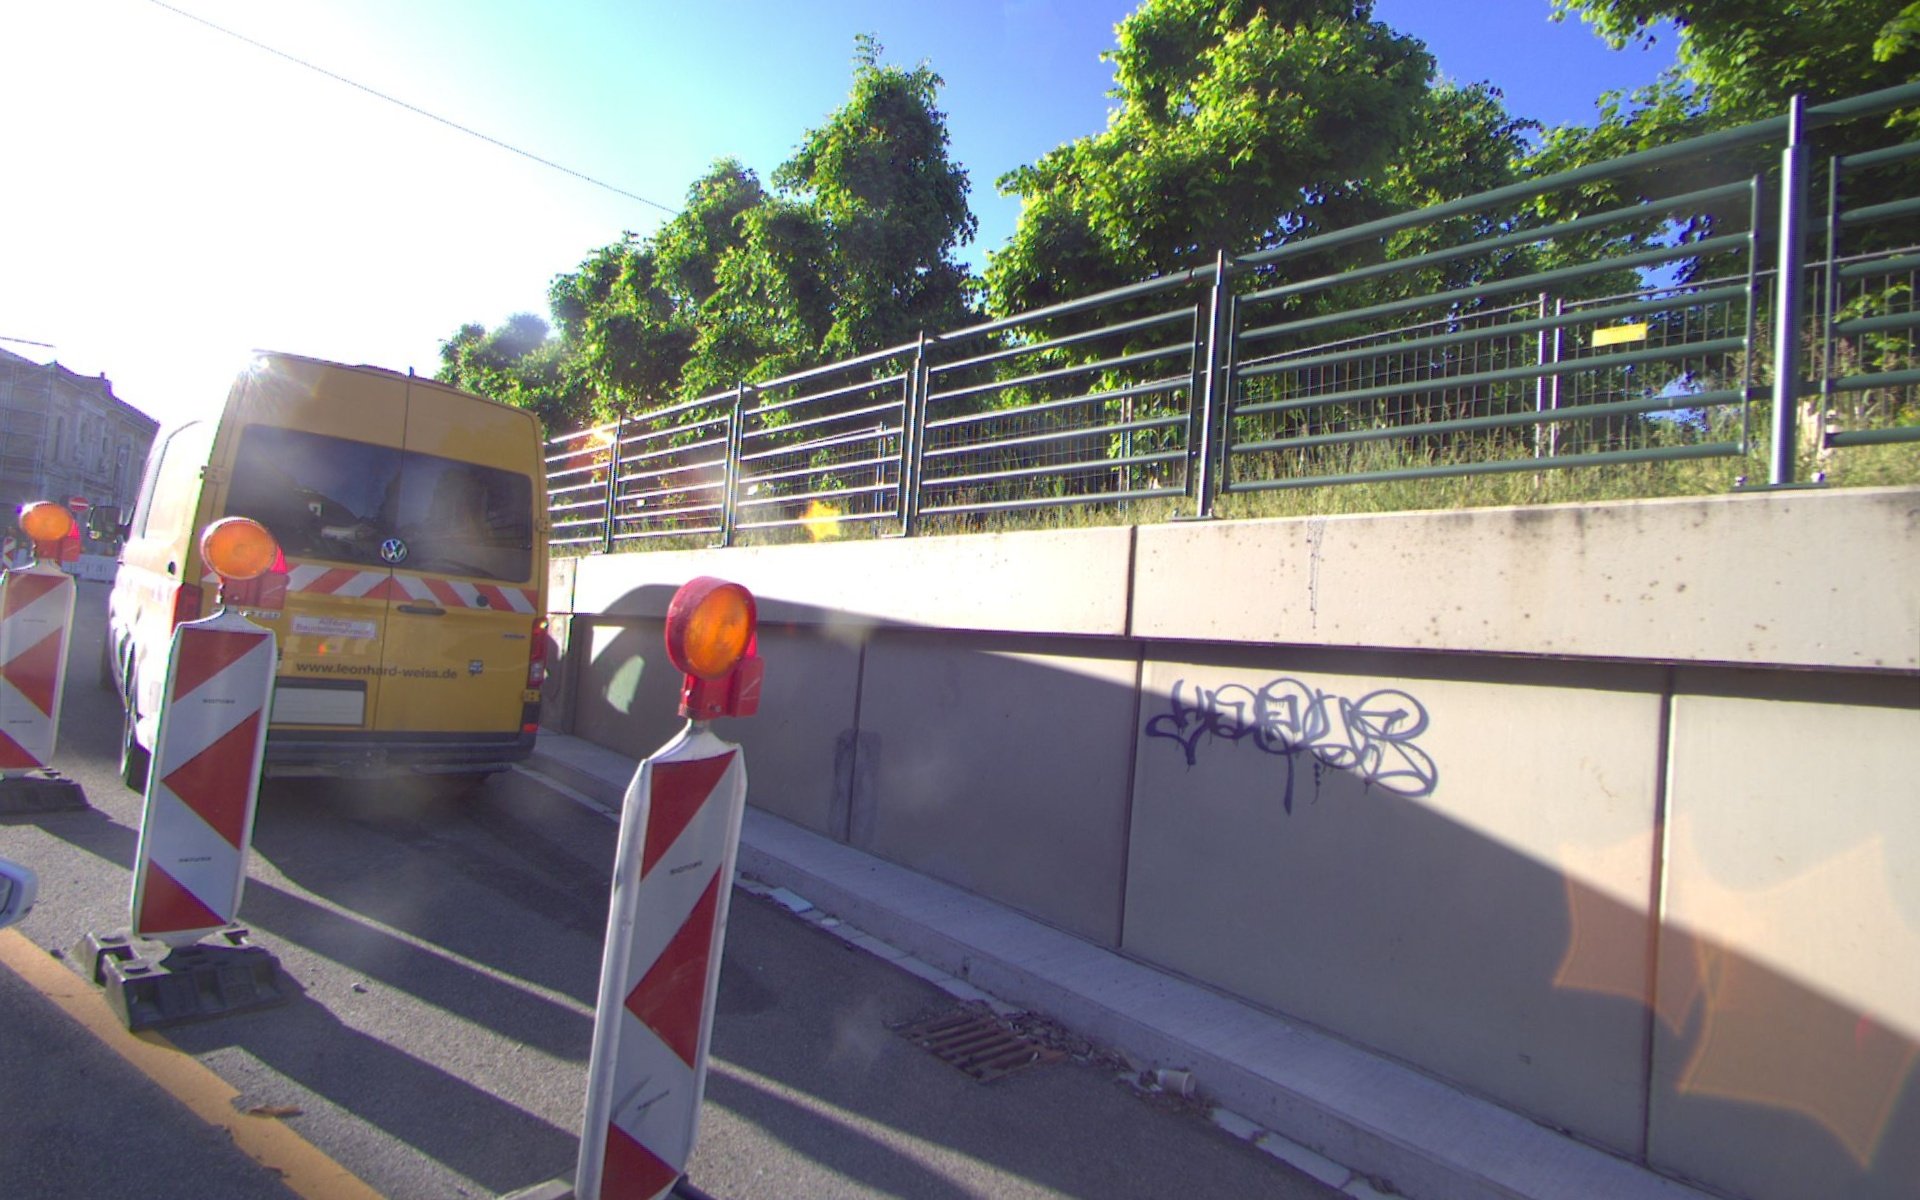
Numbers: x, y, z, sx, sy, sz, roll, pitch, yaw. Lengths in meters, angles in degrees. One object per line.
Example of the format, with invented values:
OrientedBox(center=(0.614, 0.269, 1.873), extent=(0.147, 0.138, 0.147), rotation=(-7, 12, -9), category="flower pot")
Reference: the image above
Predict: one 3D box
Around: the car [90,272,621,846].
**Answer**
OrientedBox(center=(-5.246, -0.270, 7.916), extent=(2.104, 2.656, 6.905), rotation=(7, -1, -42), category="car")

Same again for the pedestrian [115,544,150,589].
OrientedBox(center=(-33.907, -1.359, 41.224), extent=(0.968, 1.749, 0.791), rotation=(4, -2, -38), category="pedestrian")
